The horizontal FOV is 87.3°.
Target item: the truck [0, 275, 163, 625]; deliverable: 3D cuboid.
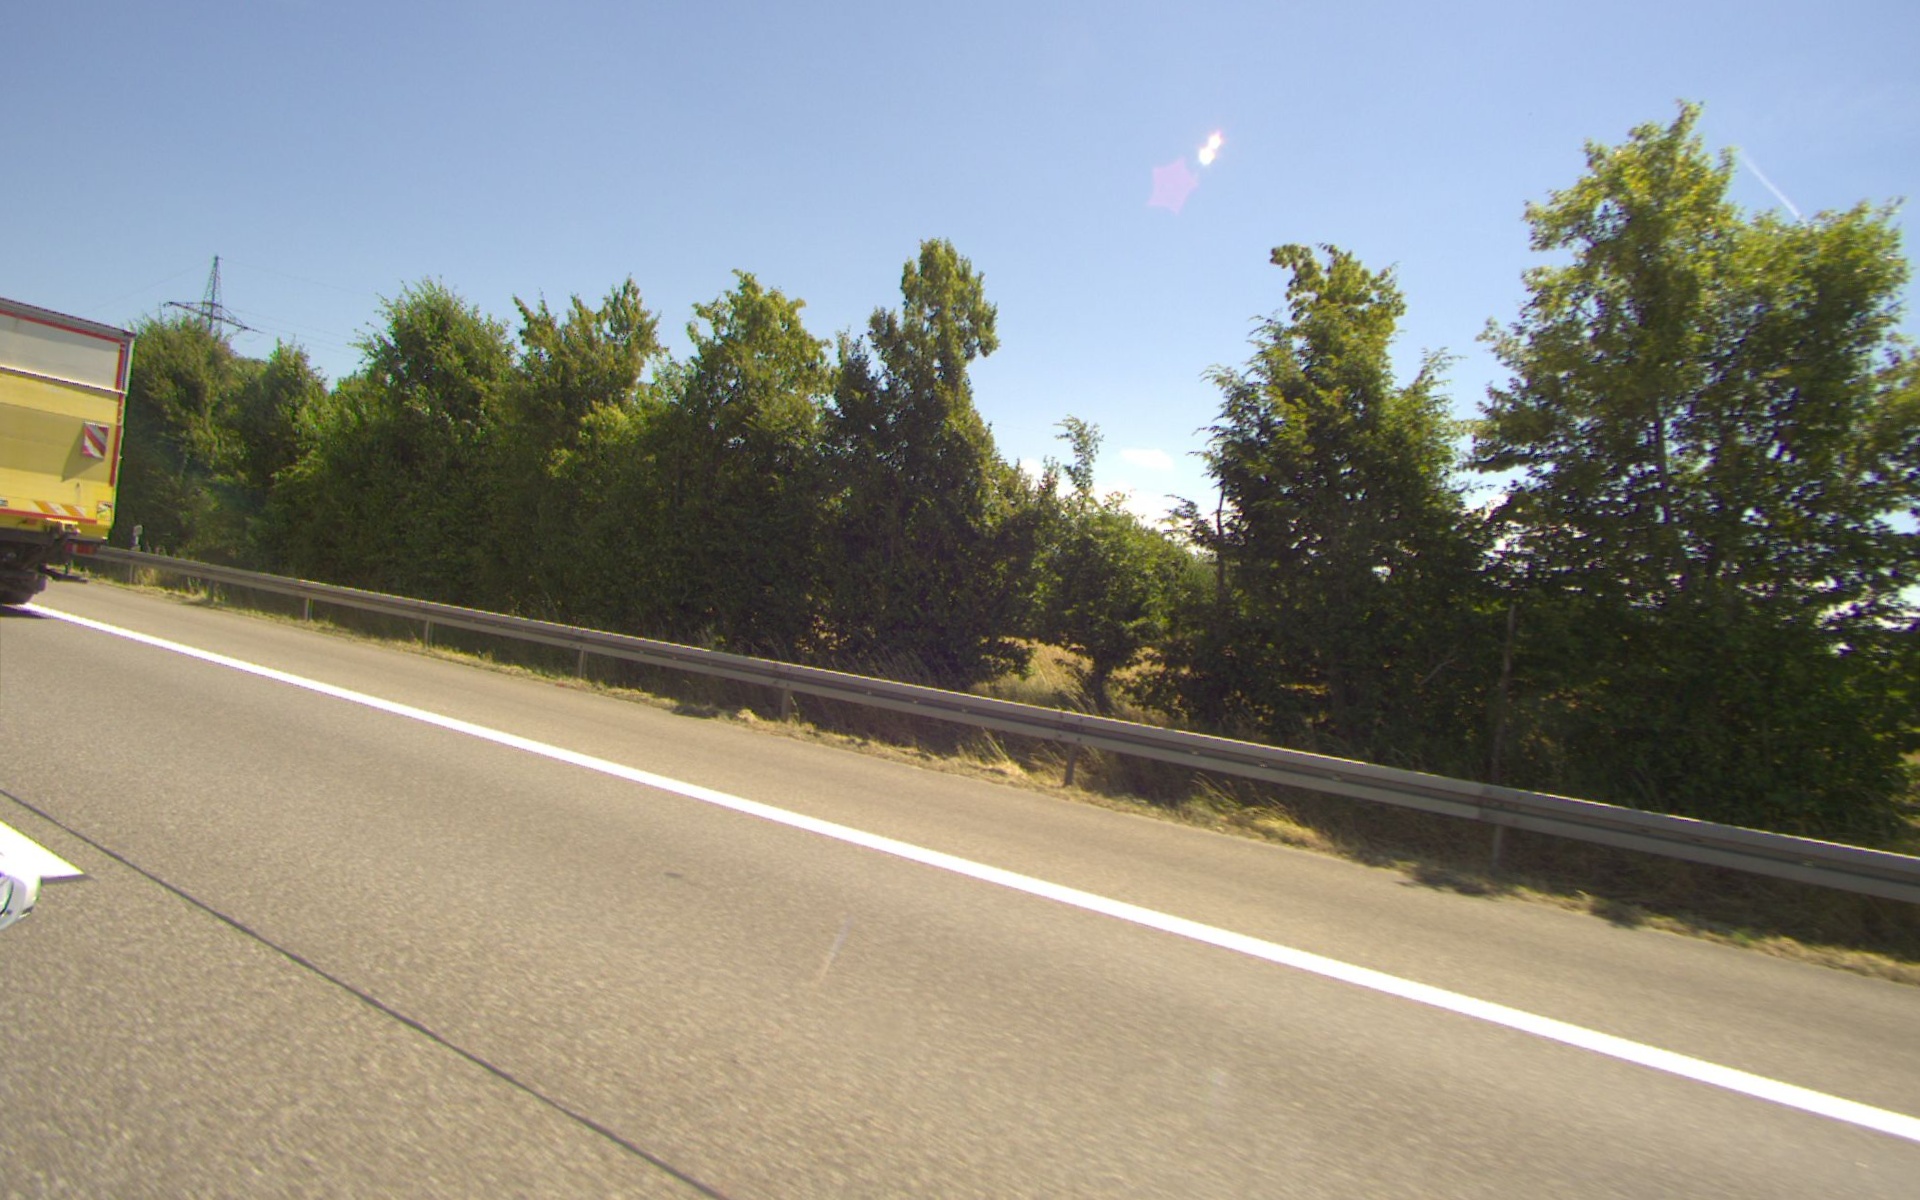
[{"bbox_3d":[-16.540,-2.419,15.438,10.503,4.248,2.939,7,-2,31],"label":"truck"}]
